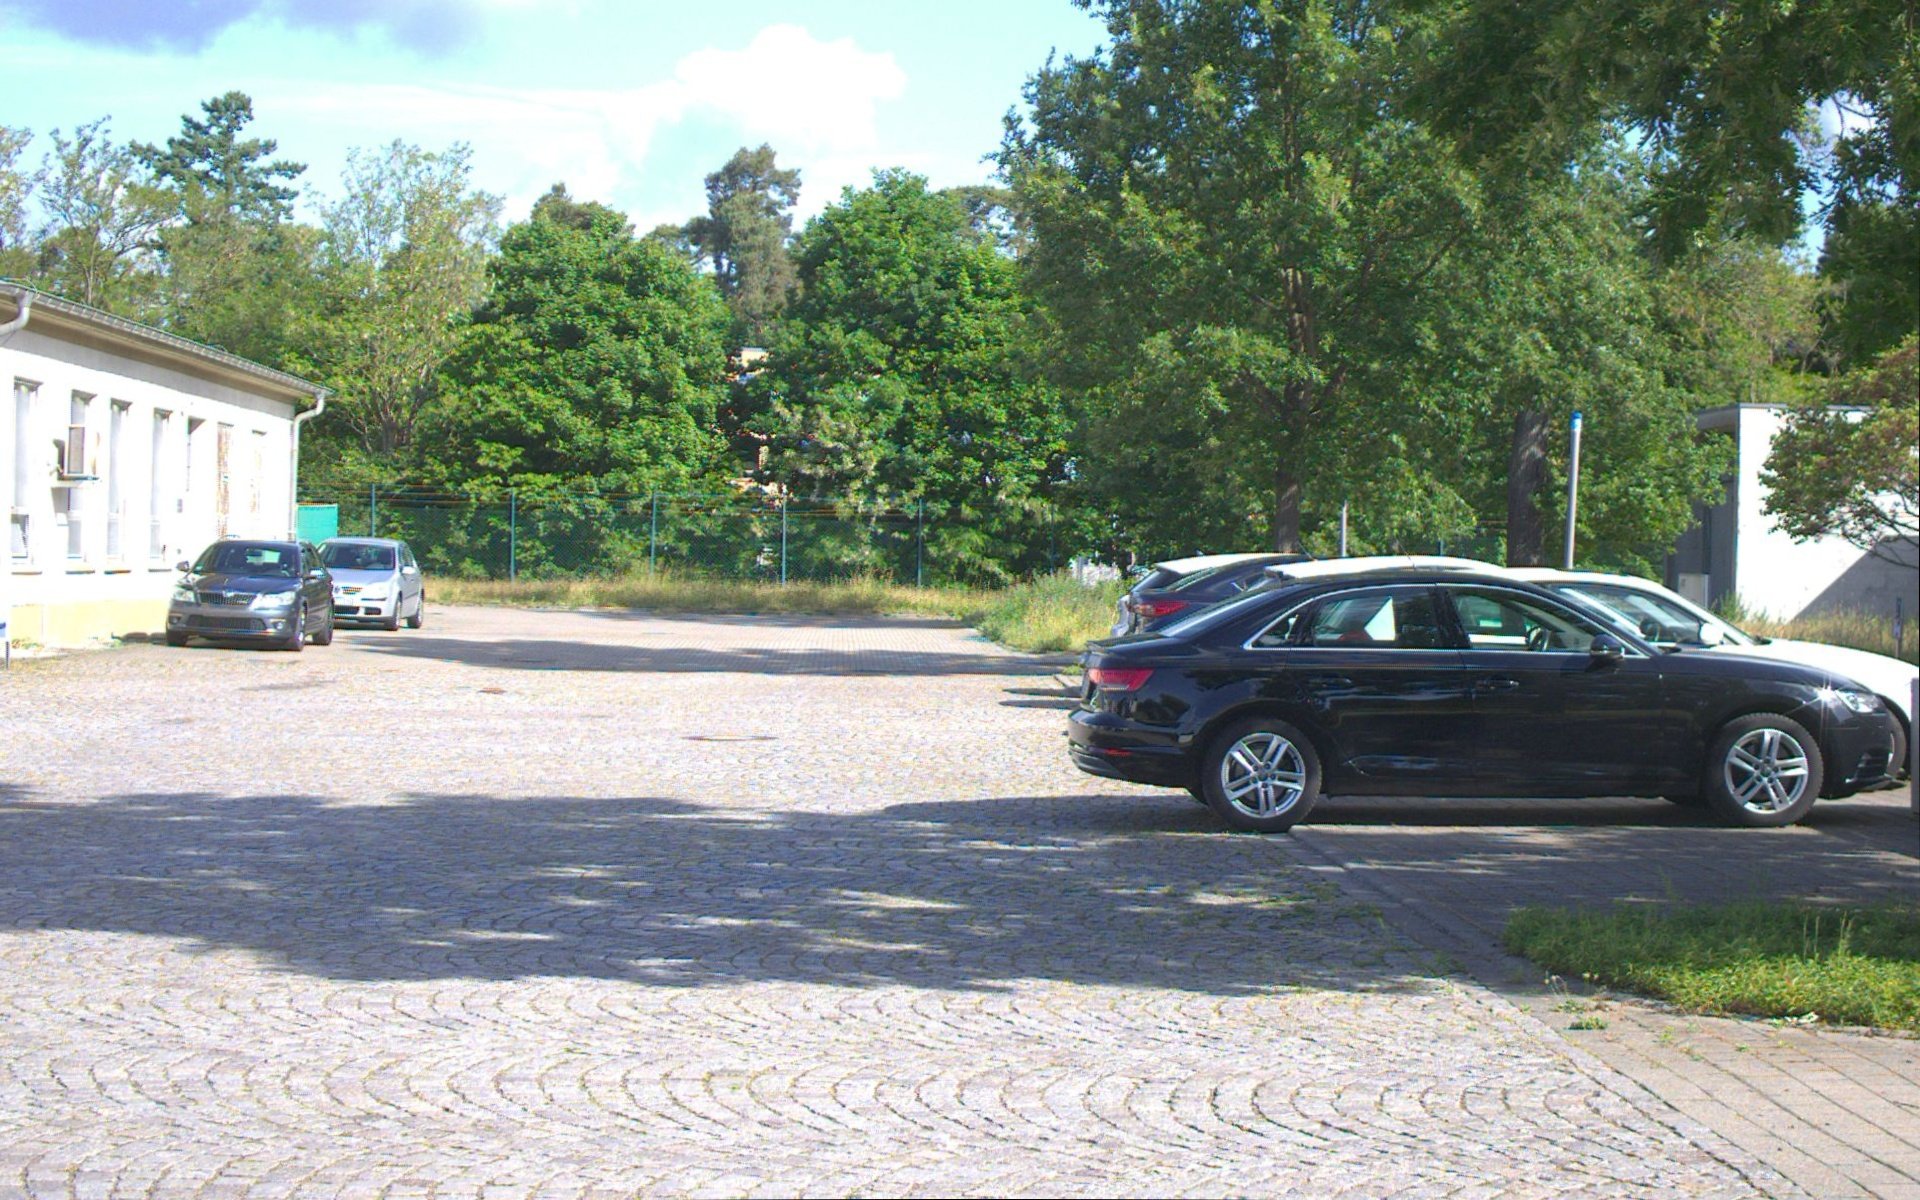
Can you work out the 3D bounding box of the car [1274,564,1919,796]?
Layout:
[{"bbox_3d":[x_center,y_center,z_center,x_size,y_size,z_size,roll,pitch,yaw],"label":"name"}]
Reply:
[{"bbox_3d":[4.172,0.492,22.608,4.138,1.455,1.691,0,1,3],"label":"car"}]

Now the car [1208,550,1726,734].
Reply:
[{"bbox_3d":[4.037,0.316,27.828,3.912,1.441,1.756,0,1,-1],"label":"car"}]

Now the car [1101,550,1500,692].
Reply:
[{"bbox_3d":[3.463,0.197,35.457,3.912,1.430,1.796,0,1,-1],"label":"car"}]

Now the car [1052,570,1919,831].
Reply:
[{"bbox_3d":[2.951,0.544,19.844,4.718,1.418,1.757,0,1,-3],"label":"car"}]

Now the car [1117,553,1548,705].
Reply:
[{"bbox_3d":[3.503,0.258,32.804,3.912,1.412,1.692,0,1,-1],"label":"car"}]

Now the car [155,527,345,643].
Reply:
[{"bbox_3d":[-9.491,-0.225,46.241,1.763,1.430,3.992,2,1,-1],"label":"car"}]

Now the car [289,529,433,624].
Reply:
[{"bbox_3d":[-9.749,-0.402,56.206,1.687,1.430,3.987,2,1,-1],"label":"car"}]
